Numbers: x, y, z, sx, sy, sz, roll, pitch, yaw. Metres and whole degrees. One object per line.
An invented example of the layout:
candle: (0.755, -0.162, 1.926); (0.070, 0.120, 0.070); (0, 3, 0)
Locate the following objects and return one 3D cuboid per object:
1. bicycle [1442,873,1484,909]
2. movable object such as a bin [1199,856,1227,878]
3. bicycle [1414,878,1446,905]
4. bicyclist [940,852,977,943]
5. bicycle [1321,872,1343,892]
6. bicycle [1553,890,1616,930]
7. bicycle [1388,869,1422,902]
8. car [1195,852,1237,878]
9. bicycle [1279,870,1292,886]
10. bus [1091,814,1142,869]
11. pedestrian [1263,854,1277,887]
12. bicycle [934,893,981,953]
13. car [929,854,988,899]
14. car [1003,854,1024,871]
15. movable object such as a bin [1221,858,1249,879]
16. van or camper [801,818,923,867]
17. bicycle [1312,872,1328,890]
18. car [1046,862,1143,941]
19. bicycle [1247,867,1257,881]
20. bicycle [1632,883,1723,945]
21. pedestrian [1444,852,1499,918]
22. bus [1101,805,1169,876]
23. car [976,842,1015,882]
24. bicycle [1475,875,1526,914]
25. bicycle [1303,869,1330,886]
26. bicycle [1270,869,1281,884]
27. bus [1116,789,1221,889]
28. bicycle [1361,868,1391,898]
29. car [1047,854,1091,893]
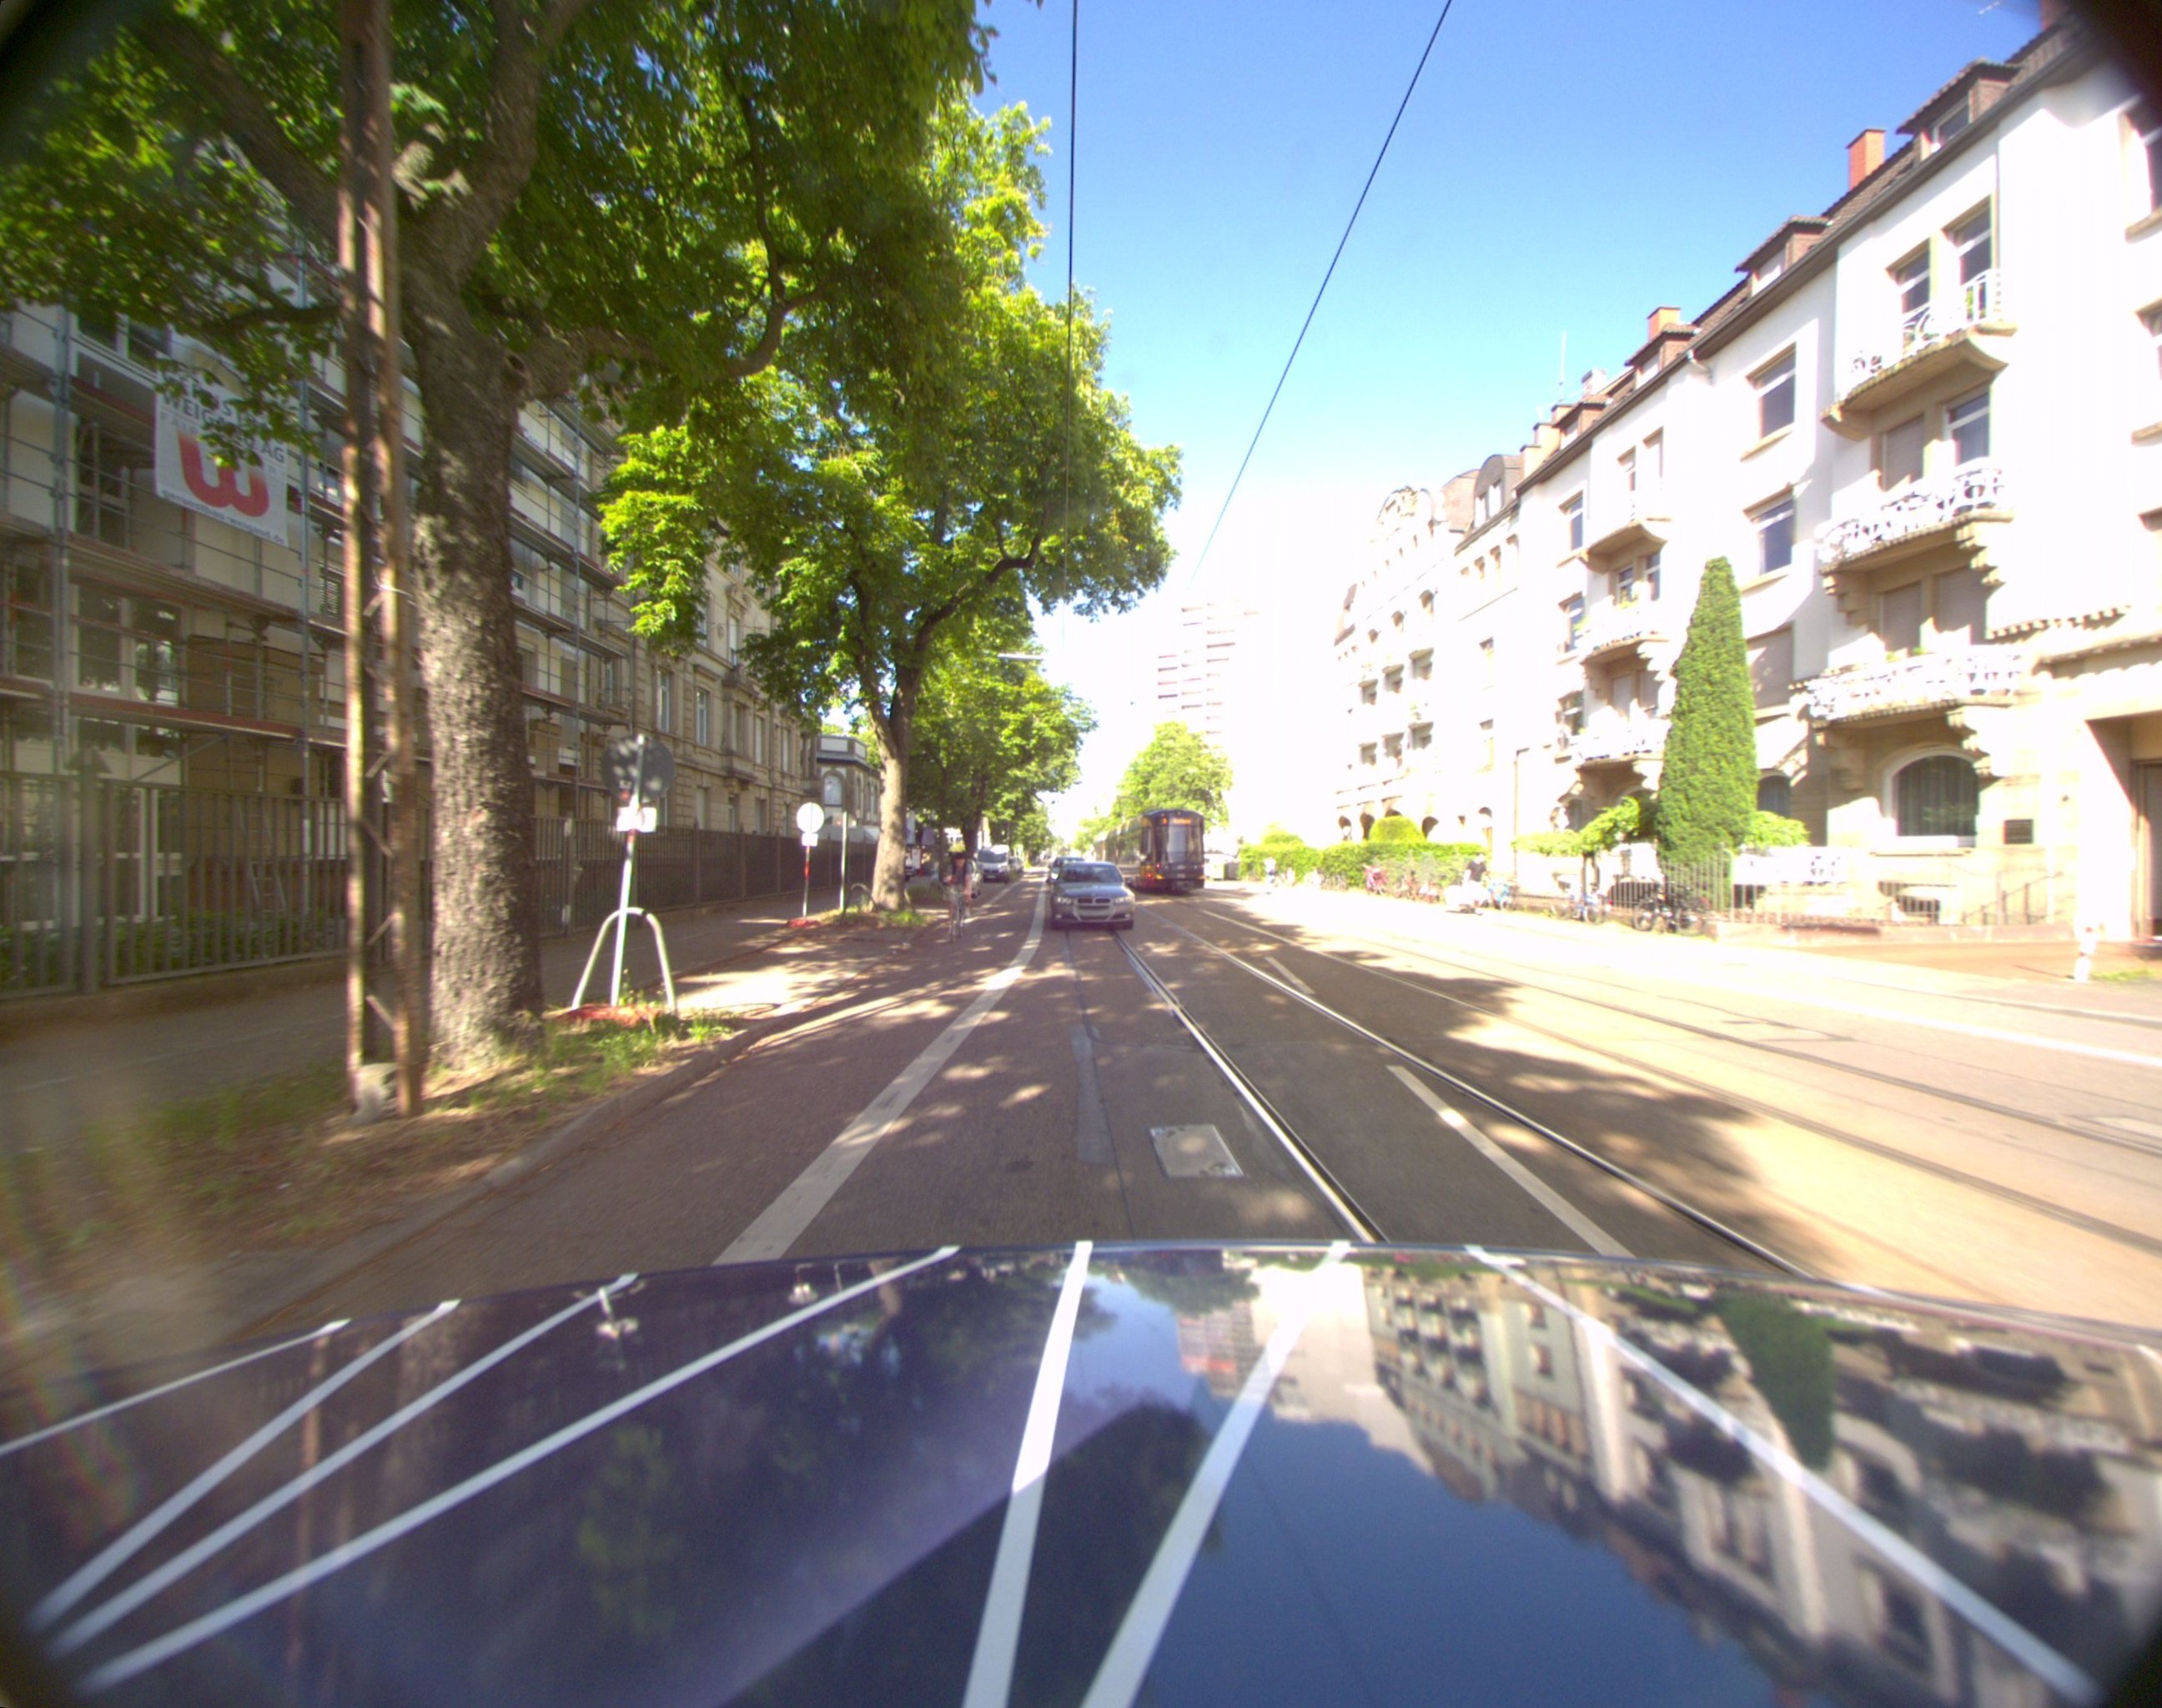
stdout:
bicycle: (11.263, 1.074, 22.442); (0.405, 0.937, 1.648); (-1, 1, 0)
movable object such as a bin: (8.947, 0.888, 51.494); (1.512, 1.424, 2.095); (-1, 1, 0)
bicycle: (11.117, 1.176, 24.232); (0.318, 0.757, 1.542); (-1, 1, 0)
bicyclist: (-2.328, 0.807, 14.465); (0.532, 1.660, 0.878); (-1, 1, 0)
bicycle: (10.789, 1.188, 32.713); (0.405, 0.757, 1.581); (-1, 1, 0)
bicycle: (11.330, 1.241, 17.135); (0.318, 0.757, 1.651); (-1, 1, 0)
bicycle: (11.064, 1.045, 25.994); (0.405, 1.018, 1.815); (-1, 1, 0)
car: (9.784, 0.826, 54.914); (1.456, 1.763, 3.194); (0, -2, 44)
bicycle: (10.548, 1.217, 39.202); (0.318, 0.757, 1.263); (-1, 1, 0)
bus: (2.516, -0.966, 57.938); (2.867, 3.755, 11.493); (-1, 1, -3)
pedestrian: (9.427, 0.799, 37.903); (0.476, 1.619, 0.659); (-1, 1, 0)
bicycle: (-2.320, 1.269, 14.437); (0.535, 0.917, 2.056); (-1, 1, 0)
car: (-4.794, 0.842, 30.275); (1.877, 1.534, 4.363); (2, 1, -4)
car: (-6.347, 0.786, 71.640); (1.867, 1.541, 4.100); (0, 1, -4)
movable object such as a bin: (10.643, 0.983, 52.493); (1.501, 1.309, 2.095); (-1, 1, 0)
van or camper: (-12.444, -0.616, 43.051); (6.721, 2.612, 2.126); (0, 1, 23)
bicycle: (10.761, 1.222, 34.218); (0.339, 0.757, 1.263); (-1, 1, 0)
car: (0.262, 0.940, 16.737); (1.870, 1.426, 3.999); (-1, 1, 0)
bicycle: (10.273, 1.189, 45.732); (0.297, 0.757, 1.263); (-1, 1, 0)
bicycle: (11.640, 1.142, 14.901); (0.405, 1.033, 1.748); (-1, 1, 0)
pedestrian: (10.159, 0.790, 19.808); (0.869, 1.619, 0.870); (-5, 1, 0)
bus: (3.060, -0.808, 46.606); (2.867, 3.755, 11.178); (-1, 1, -3)
car: (-5.377, 0.459, 48.695); (2.132, 2.329, 5.802); (2, 1, -4)
bicycle: (11.333, 1.083, 20.588); (0.405, 0.937, 1.748); (-1, 1, 0)
bicycle: (11.581, 1.147, 37.403); (1.262, 0.789, 0.297); (-1, 1, 0)
bicycle: (10.491, 1.207, 40.984); (0.297, 0.757, 1.263); (-1, 1, 0)
bus: (3.622, -0.645, 34.909); (2.858, 3.755, 12.192); (-1, 1, -3)
bicycle: (10.966, 1.053, 28.287); (0.405, 1.018, 1.815); (-1, 1, 0)
car: (-0.511, 0.808, 33.750); (1.828, 1.559, 3.999); (-1, 1, 0)
